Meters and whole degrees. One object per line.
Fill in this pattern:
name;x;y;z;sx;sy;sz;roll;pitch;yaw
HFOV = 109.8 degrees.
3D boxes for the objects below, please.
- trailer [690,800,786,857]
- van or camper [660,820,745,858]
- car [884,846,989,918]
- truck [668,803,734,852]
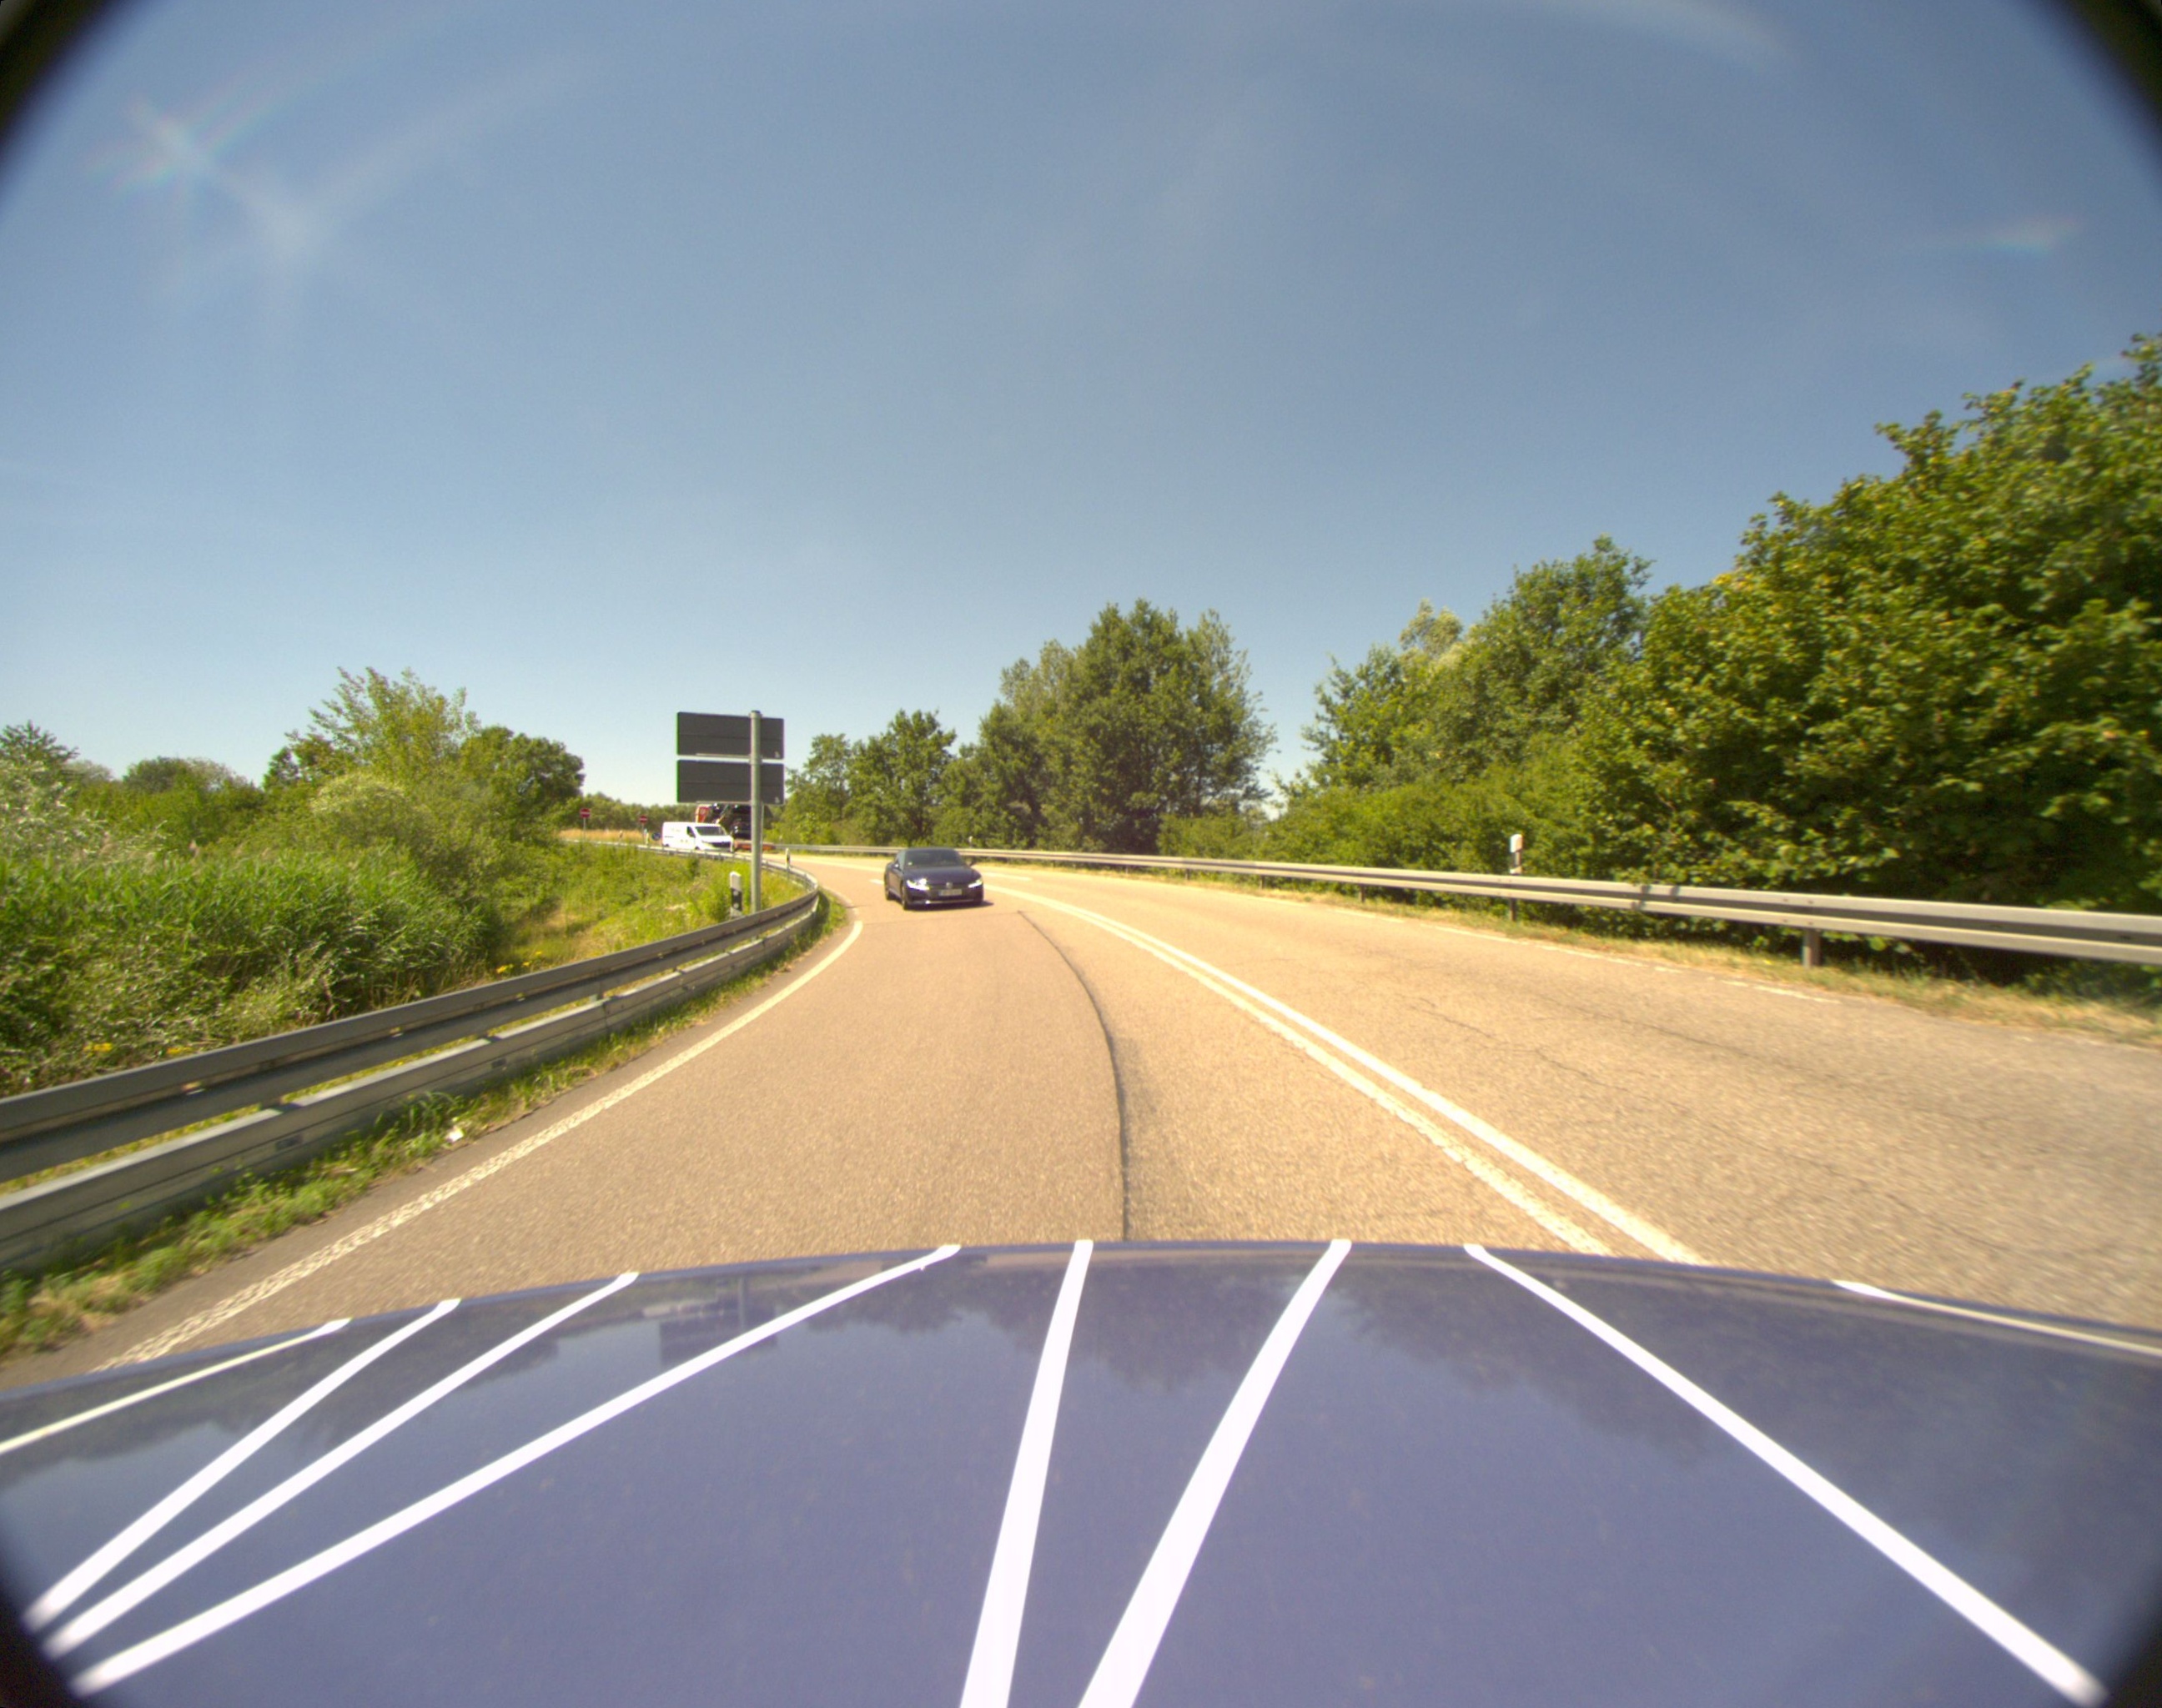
trailer;-26.359;-2.010;57.773;2.807;3.877;13.943;-3;4;-40
van or camper;-21.563;-0.879;43.174;5.431;2.021;2.013;1;4;37
car;-3.774;0.593;19.138;1.845;1.423;4.524;-4;2;-20
truck;-32.586;-2.309;64.949;2.804;3.877;8.752;-3;4;-41
